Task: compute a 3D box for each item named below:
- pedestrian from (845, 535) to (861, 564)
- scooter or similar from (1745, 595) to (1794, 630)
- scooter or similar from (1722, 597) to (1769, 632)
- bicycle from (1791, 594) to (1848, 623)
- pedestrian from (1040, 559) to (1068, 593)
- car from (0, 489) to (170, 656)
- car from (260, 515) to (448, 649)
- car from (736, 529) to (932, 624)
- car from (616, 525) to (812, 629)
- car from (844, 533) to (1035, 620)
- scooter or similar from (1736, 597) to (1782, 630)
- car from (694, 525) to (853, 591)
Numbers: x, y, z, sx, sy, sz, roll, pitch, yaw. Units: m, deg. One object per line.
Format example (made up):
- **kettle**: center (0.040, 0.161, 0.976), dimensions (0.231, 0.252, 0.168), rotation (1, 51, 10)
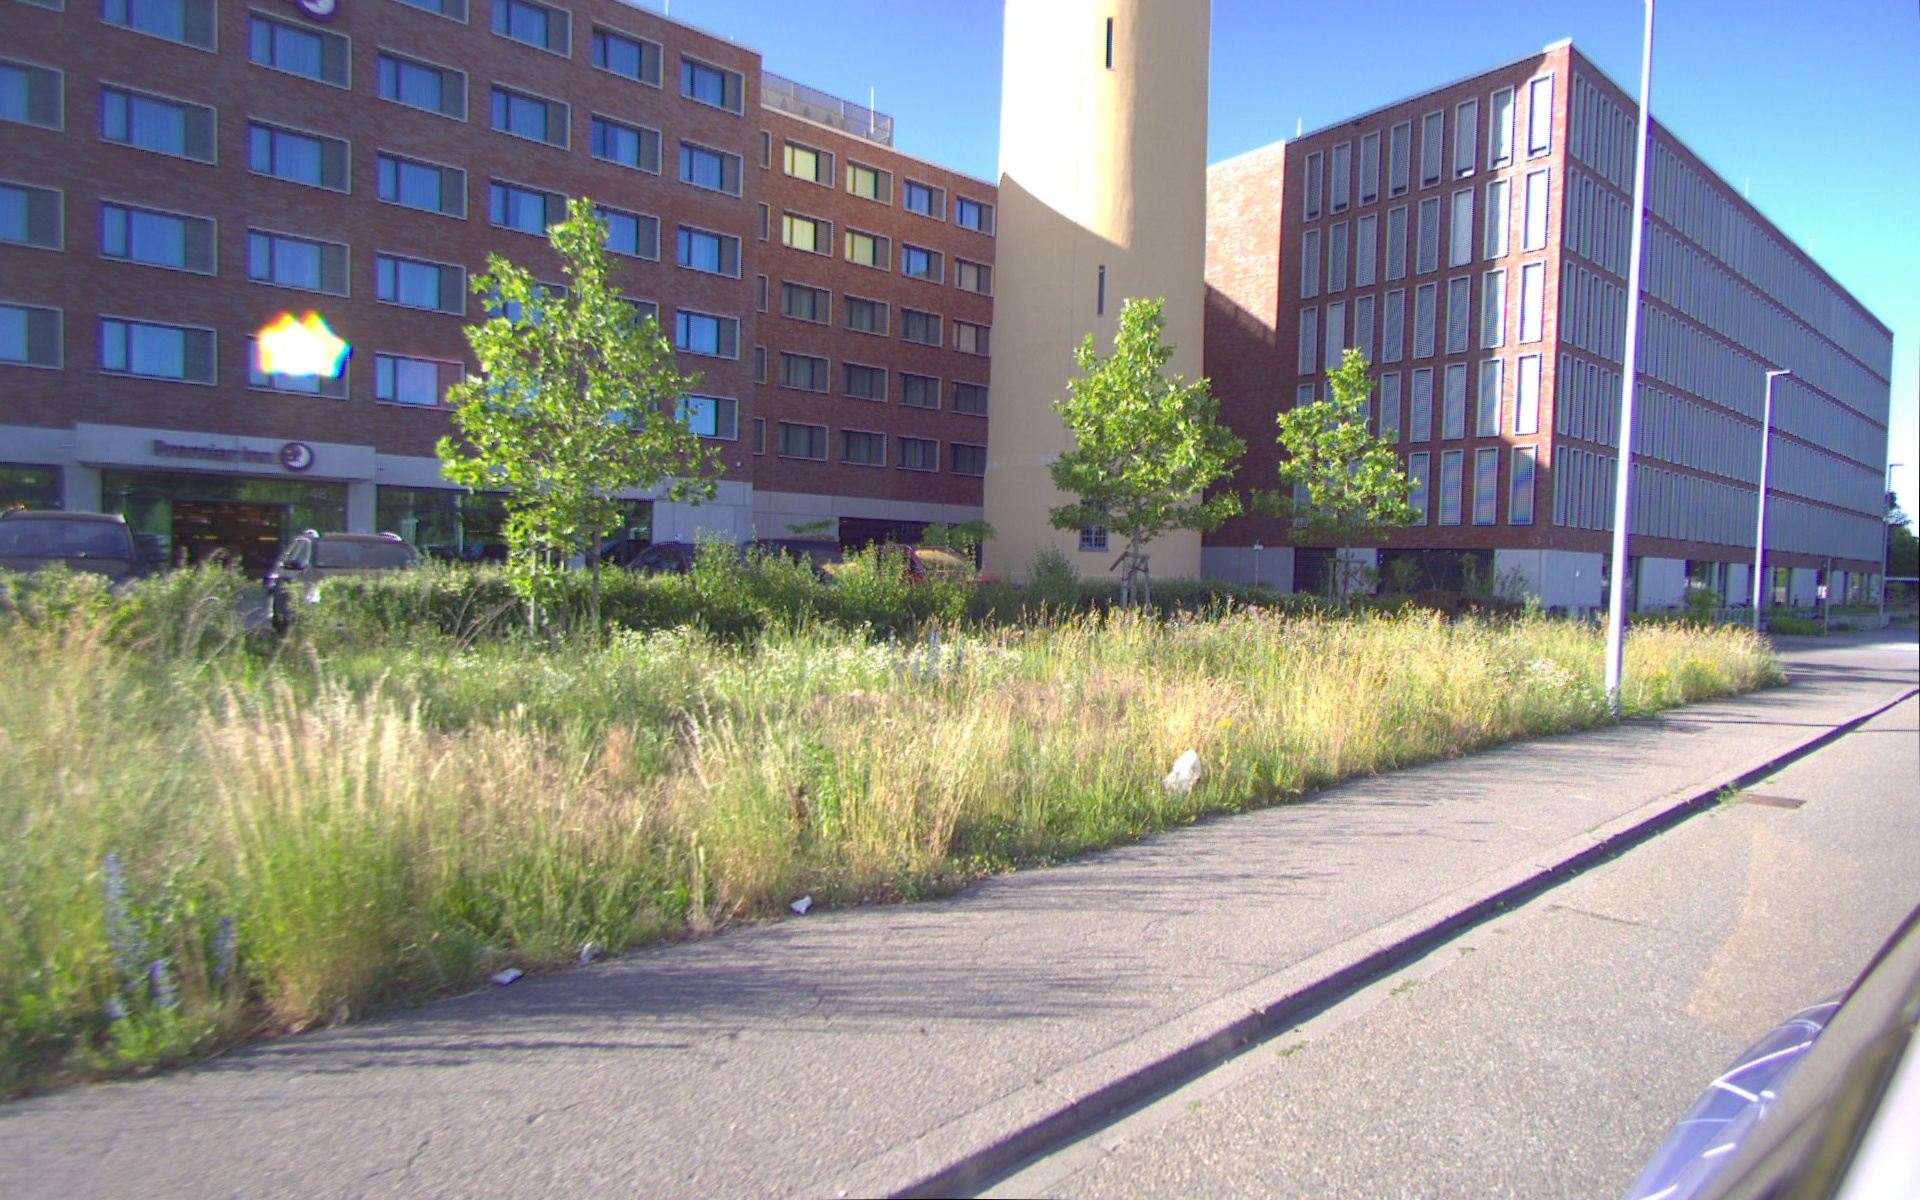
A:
- **pedestrian**: center (-4.363, -2.055, 41.204), dimensions (0.525, 1.154, 0.341), rotation (-1, 2, -45)
- **scooter or similar**: center (30.939, 0.473, 38.690), dimensions (0.416, 1.260, 1.345), rotation (1, 2, -36)
- **scooter or similar**: center (28.508, 0.523, 36.740), dimensions (0.334, 1.209, 1.247), rotation (1, 2, -36)
- **bicycle**: center (39.432, 0.399, 46.438), dimensions (1.932, 1.184, 0.369), rotation (5, 4, 43)
- **pedestrian**: center (3.303, -0.860, 35.714), dimensions (0.800, 1.149, 0.758), rotation (2, 3, -6)
- **car**: center (-10.824, -0.346, 12.332), dimensions (1.817, 1.727, 3.999), rotation (1, 1, -37)
- **car**: center (-8.678, -0.277, 14.324), dimensions (1.817, 1.600, 4.196), rotation (1, 1, -37)
- **car**: center (-2.511, -0.455, 19.263), dimensions (1.817, 1.600, 4.196), rotation (1, 1, -37)
- **car**: center (-4.436, -0.416, 17.793), dimensions (1.817, 1.600, 4.196), rotation (1, 1, -37)
- **car**: center (-0.527, -0.501, 20.949), dimensions (1.817, 1.600, 4.196), rotation (1, 1, -37)
- **scooter or similar**: center (29.736, 0.500, 37.678), dimensions (0.359, 1.170, 1.247), rotation (1, 2, -36)
- **car**: center (-6.007, -1.326, 32.940), dimensions (4.708, 1.959, 1.976), rotation (0, 1, -40)
